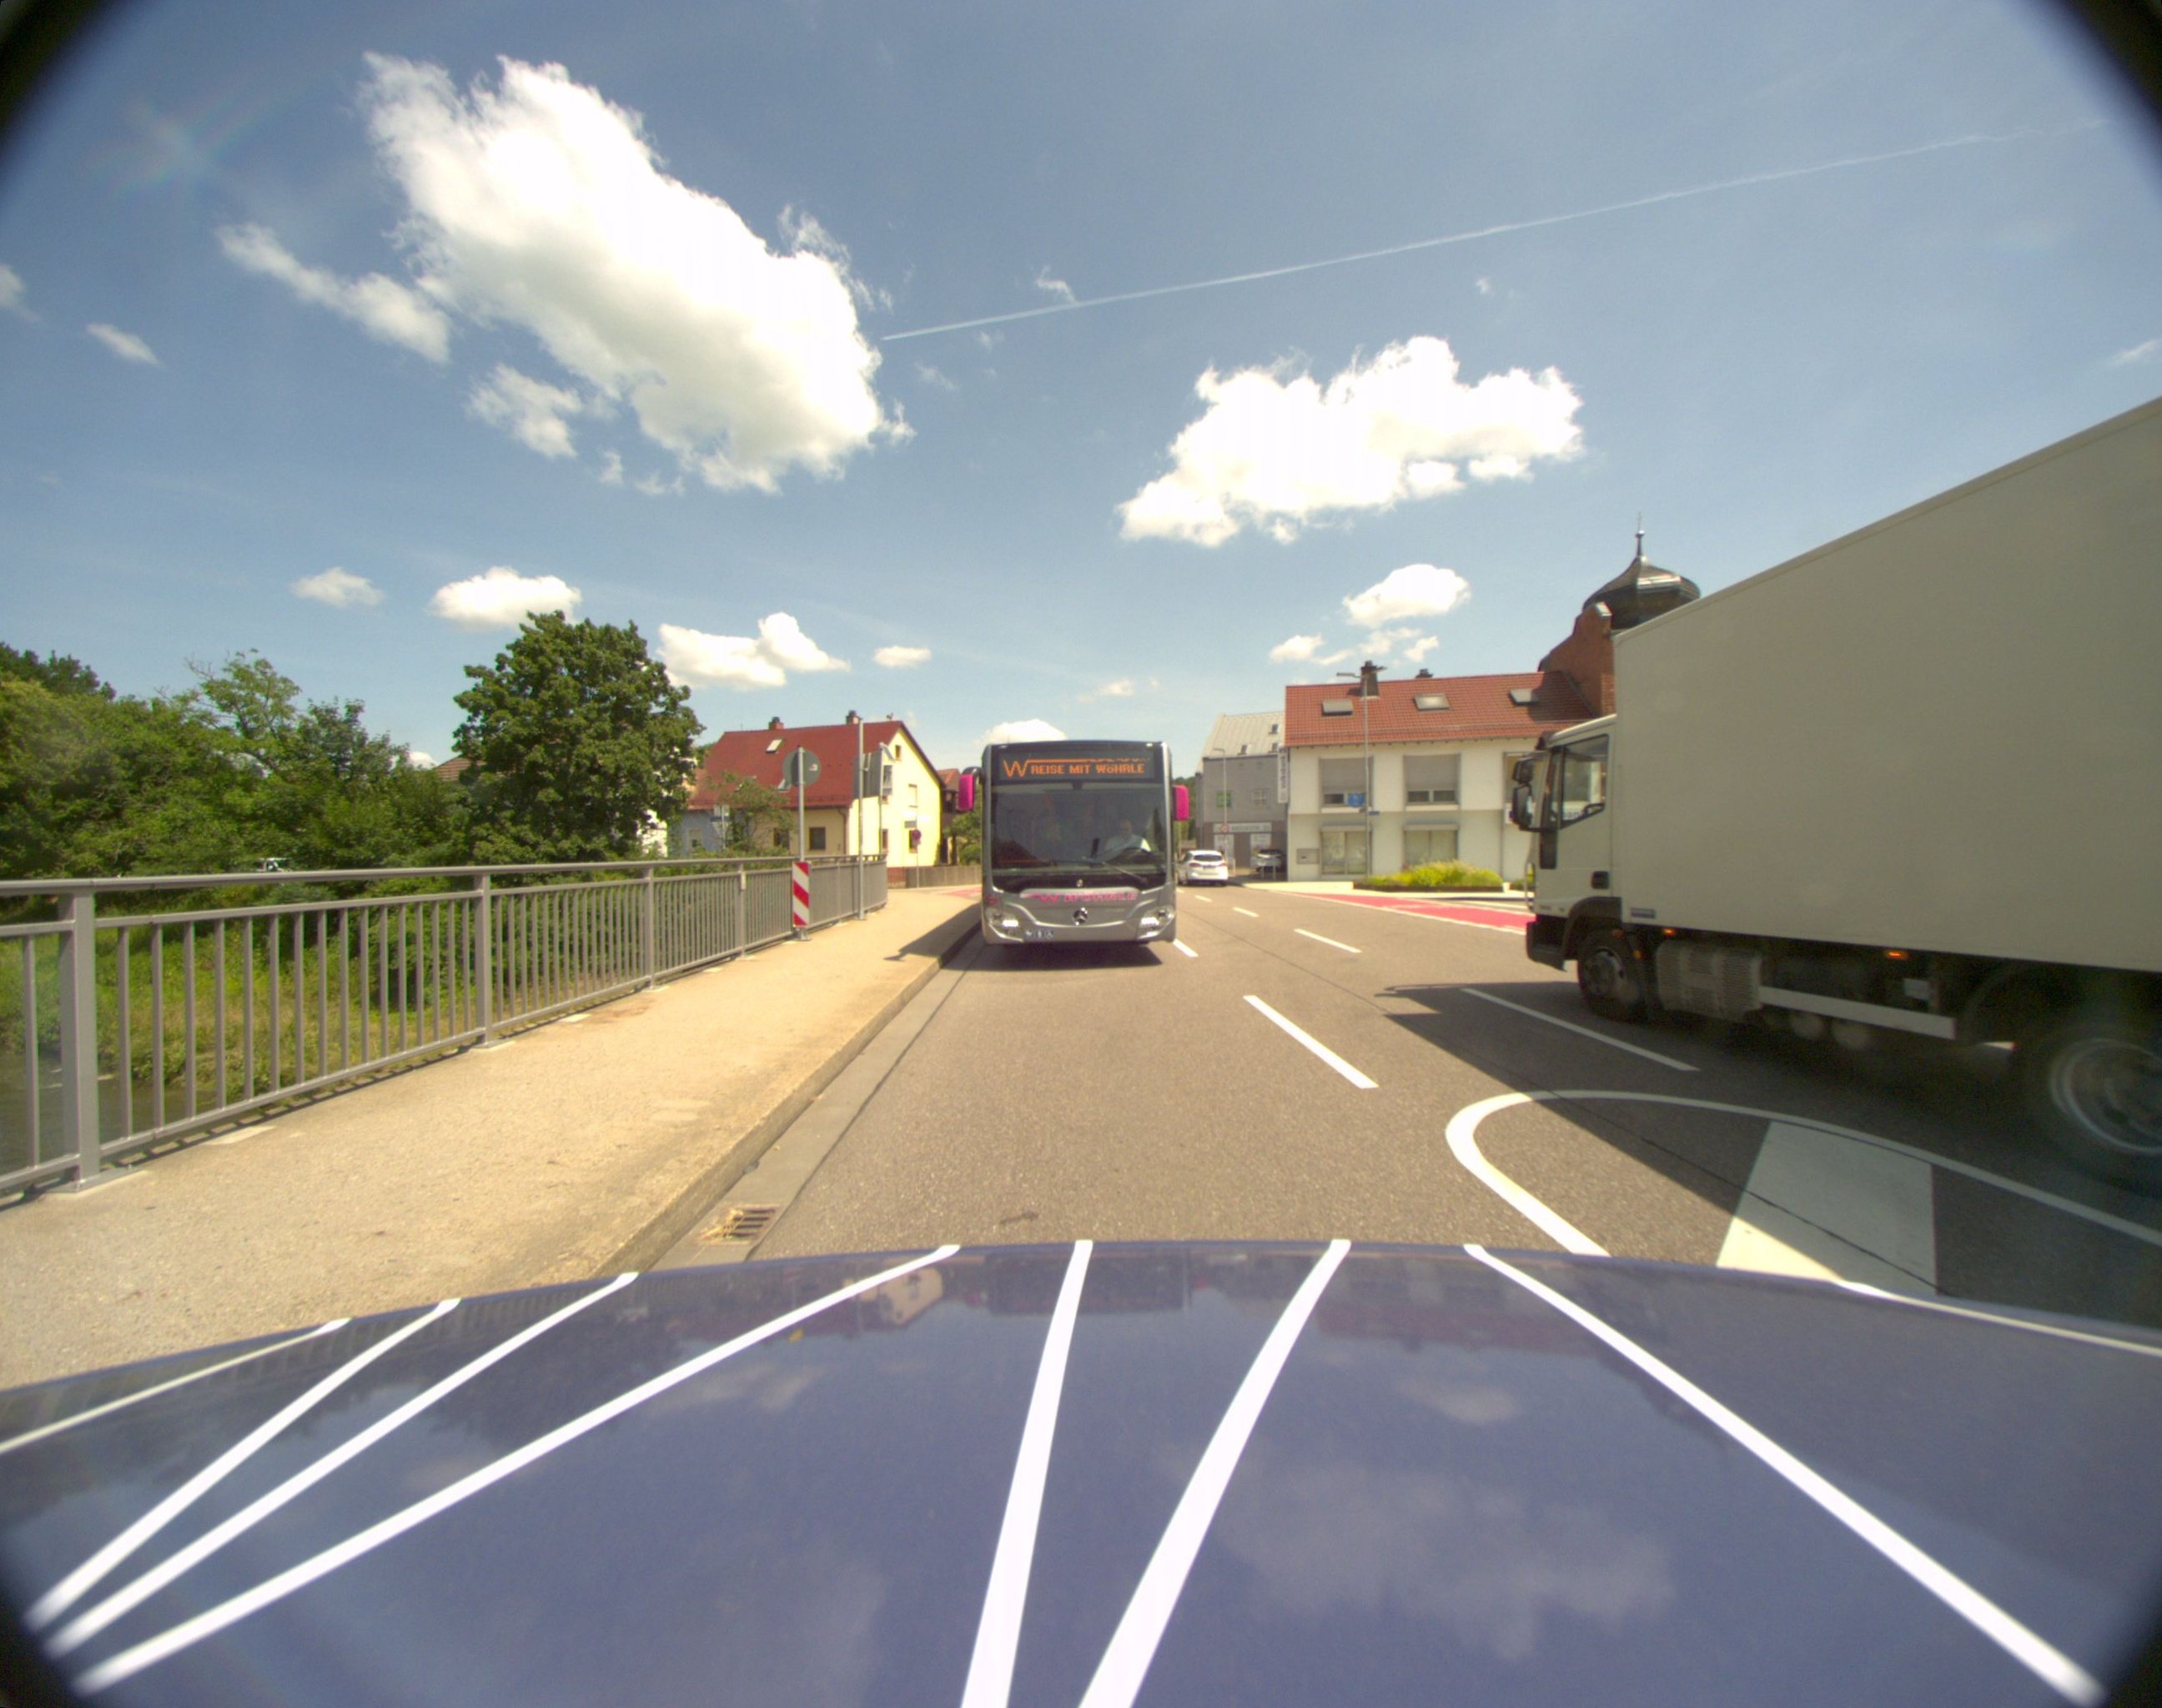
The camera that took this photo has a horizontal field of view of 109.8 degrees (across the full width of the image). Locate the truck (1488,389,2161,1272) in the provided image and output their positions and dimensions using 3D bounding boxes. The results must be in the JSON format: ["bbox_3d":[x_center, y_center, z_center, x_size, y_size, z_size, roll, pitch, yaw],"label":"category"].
[{"bbox_3d":[5.185,-0.149,4.230,2.508,3.217,6.038,-3,1,0],"label":"truck"}]

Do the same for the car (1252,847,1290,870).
[{"bbox_3d":[13.268,0.288,52.796,1.995,1.565,4.259,0,0,22],"label":"car"}]

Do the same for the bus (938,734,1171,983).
[{"bbox_3d":[-0.178,0.140,13.727,2.755,2.949,9.283,1,-1,2],"label":"bus"}]

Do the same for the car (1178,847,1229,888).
[{"bbox_3d":[5.515,0.573,34.690,1.819,1.640,4.000,-2,1,3],"label":"car"}]

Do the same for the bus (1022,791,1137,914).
[{"bbox_3d":[0.058,0.064,23.088,2.755,2.949,9.283,1,-1,1],"label":"bus"}]
